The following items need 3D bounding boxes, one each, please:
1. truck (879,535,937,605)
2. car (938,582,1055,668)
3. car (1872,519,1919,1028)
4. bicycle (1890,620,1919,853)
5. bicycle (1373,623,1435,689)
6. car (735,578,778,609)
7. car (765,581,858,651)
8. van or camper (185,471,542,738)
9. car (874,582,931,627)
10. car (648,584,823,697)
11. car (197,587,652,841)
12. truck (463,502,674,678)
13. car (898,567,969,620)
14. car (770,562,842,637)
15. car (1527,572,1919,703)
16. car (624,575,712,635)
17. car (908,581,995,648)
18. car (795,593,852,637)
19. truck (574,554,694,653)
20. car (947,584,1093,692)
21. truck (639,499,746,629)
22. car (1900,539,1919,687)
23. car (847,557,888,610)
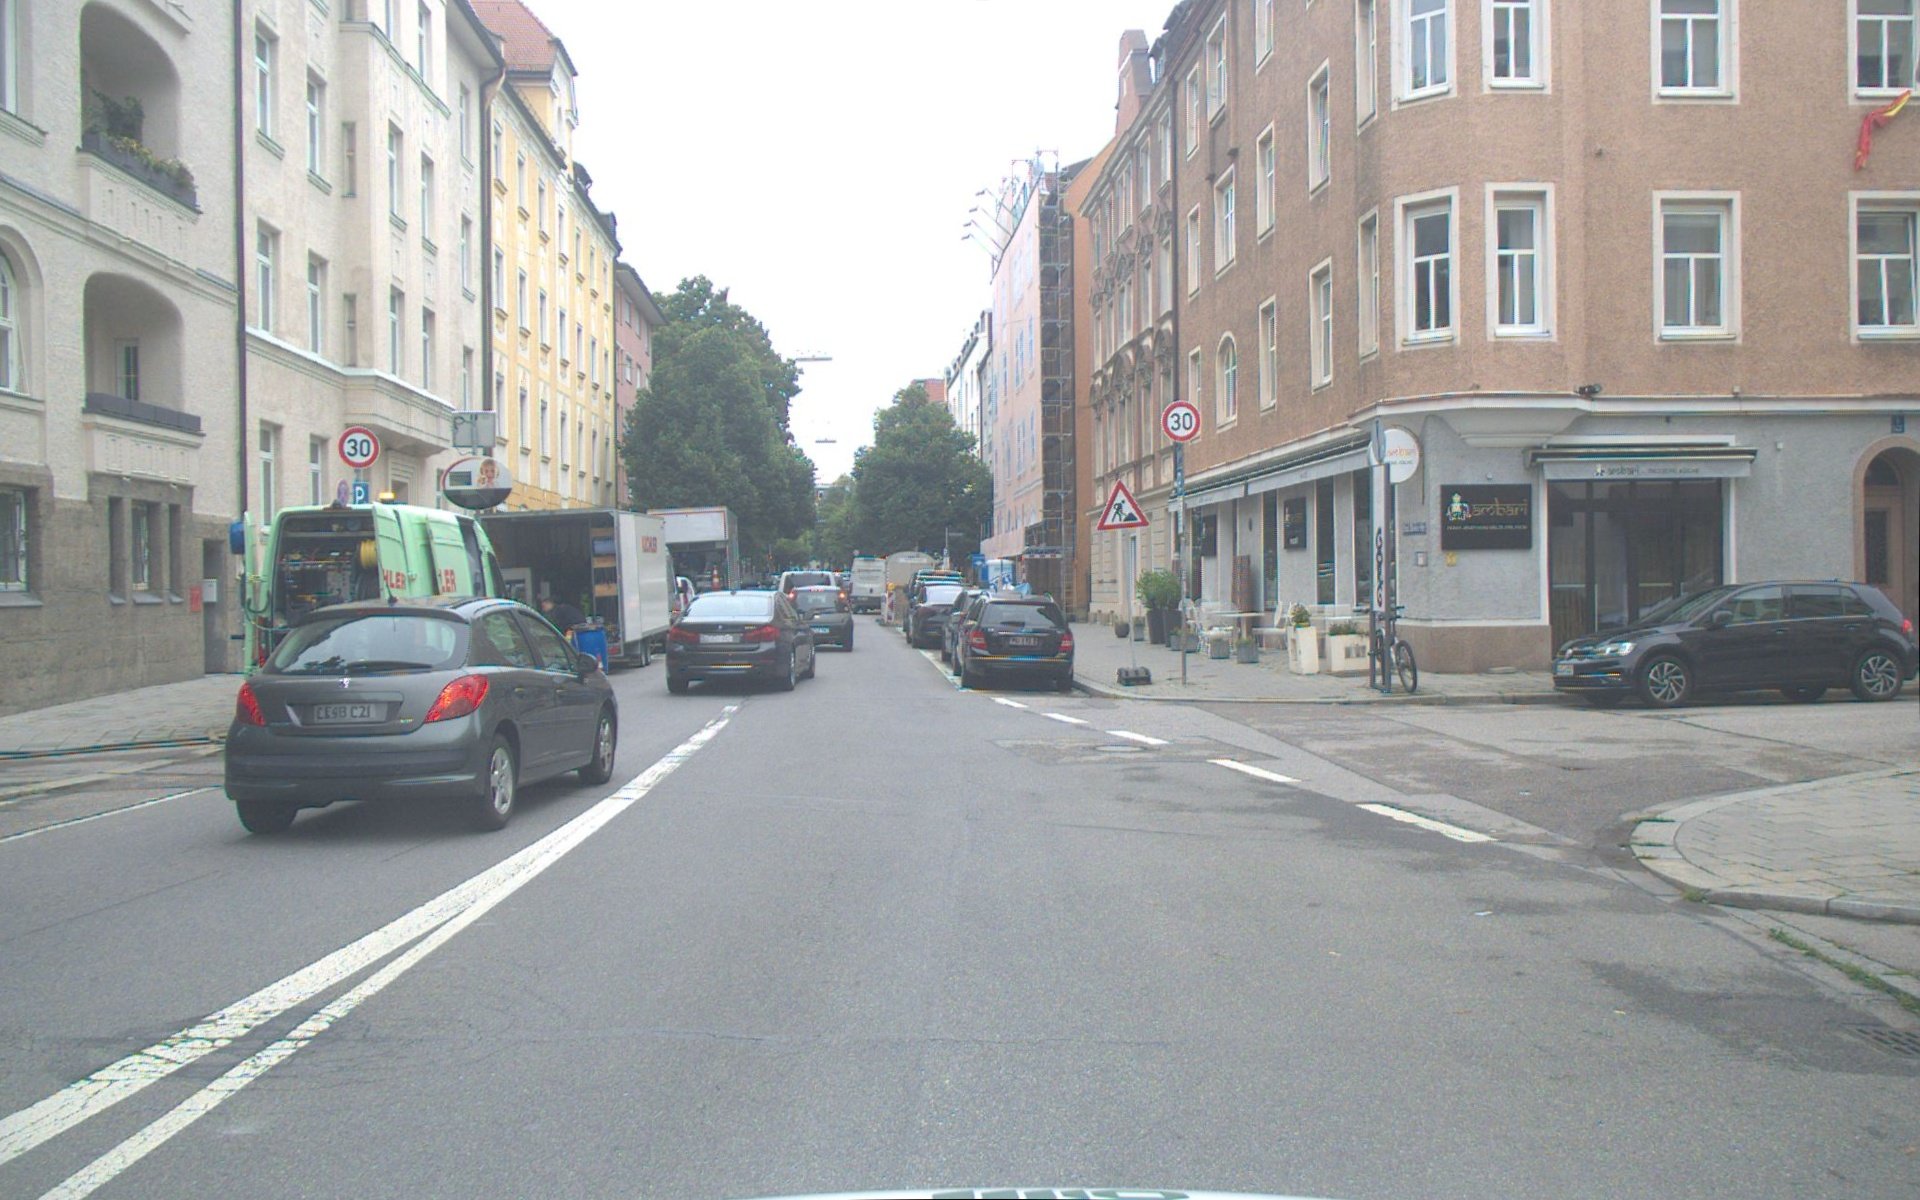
[{"bbox_3d":[-2.380,-1.340,74.759,2.442,3.025,5.323,0,0,-4],"label":"truck"},{"bbox_3d":[0.642,0.436,32.276,1.808,1.454,4.137,2,1,-5],"label":"car"},{"bbox_3d":[4.157,0.566,3.531,1.782,1.708,4.509,-2,0,-2],"label":"car"},{"bbox_3d":[5.366,0.734,8.074,0.503,1.229,1.995,0,0,-1],"label":"bicycle"},{"bbox_3d":[5.916,0.736,22.087,0.447,0.819,1.326,0,0,-1],"label":"bicycle"},{"bbox_3d":[-9.952,-0.315,81.187,1.901,1.473,3.863,0,0,-4],"label":"car"},{"bbox_3d":[-3.389,0.327,38.425,1.950,1.454,4.138,-1,1,-3],"label":"car"},{"bbox_3d":[-7.295,-0.029,21.187,2.548,2.889,6.183,-1,1,-3],"label":"van or camper"},{"bbox_3d":[-2.060,0.145,58.670,1.950,1.454,4.138,-1,1,-3],"label":"car"},{"bbox_3d":[-3.293,0.527,25.178,1.949,1.454,4.906,-1,1,0],"label":"car"},{"bbox_3d":[-3.570,0.667,11.874,1.722,1.486,4.076,-1,0,3],"label":"car"},{"bbox_3d":[-7.217,-0.261,31.471,2.718,2.923,7.196,-1,1,-4],"label":"truck"},{"bbox_3d":[-0.831,-0.234,48.963,1.950,1.454,4.138,-1,1,-3],"label":"car"},{"bbox_3d":[-4.566,-0.055,49.578,1.950,2.111,4.138,-1,1,-3],"label":"car"},{"bbox_3d":[9.245,0.452,20.014,4.086,1.454,1.924,-1,-1,-3],"label":"car"},{"bbox_3d":[-8.260,0.119,47.109,1.950,1.639,4.138,0,0,-3],"label":"car"},{"bbox_3d":[-0.266,0.315,41.005,1.808,1.454,4.303,2,1,-5],"label":"car"},{"bbox_3d":[-5.062,0.528,61.656,1.950,1.454,4.138,-1,1,-3],"label":"car"},{"bbox_3d":[-7.728,0.059,39.650,2.241,2.209,4.803,0,0,-4],"label":"truck"},{"bbox_3d":[0.869,0.540,26.430,1.808,1.454,4.180,2,1,-5],"label":"car"},{"bbox_3d":[-8.719,-1.141,54.616,2.953,4.021,6.988,0,0,-5],"label":"truck"},{"bbox_3d":[14.813,0.115,20.622,5.025,1.886,2.098,-1,-1,-3],"label":"car"},{"bbox_3d":[-4.545,-0.829,81.795,1.900,2.523,4.781,0,0,-2],"label":"car"}]
